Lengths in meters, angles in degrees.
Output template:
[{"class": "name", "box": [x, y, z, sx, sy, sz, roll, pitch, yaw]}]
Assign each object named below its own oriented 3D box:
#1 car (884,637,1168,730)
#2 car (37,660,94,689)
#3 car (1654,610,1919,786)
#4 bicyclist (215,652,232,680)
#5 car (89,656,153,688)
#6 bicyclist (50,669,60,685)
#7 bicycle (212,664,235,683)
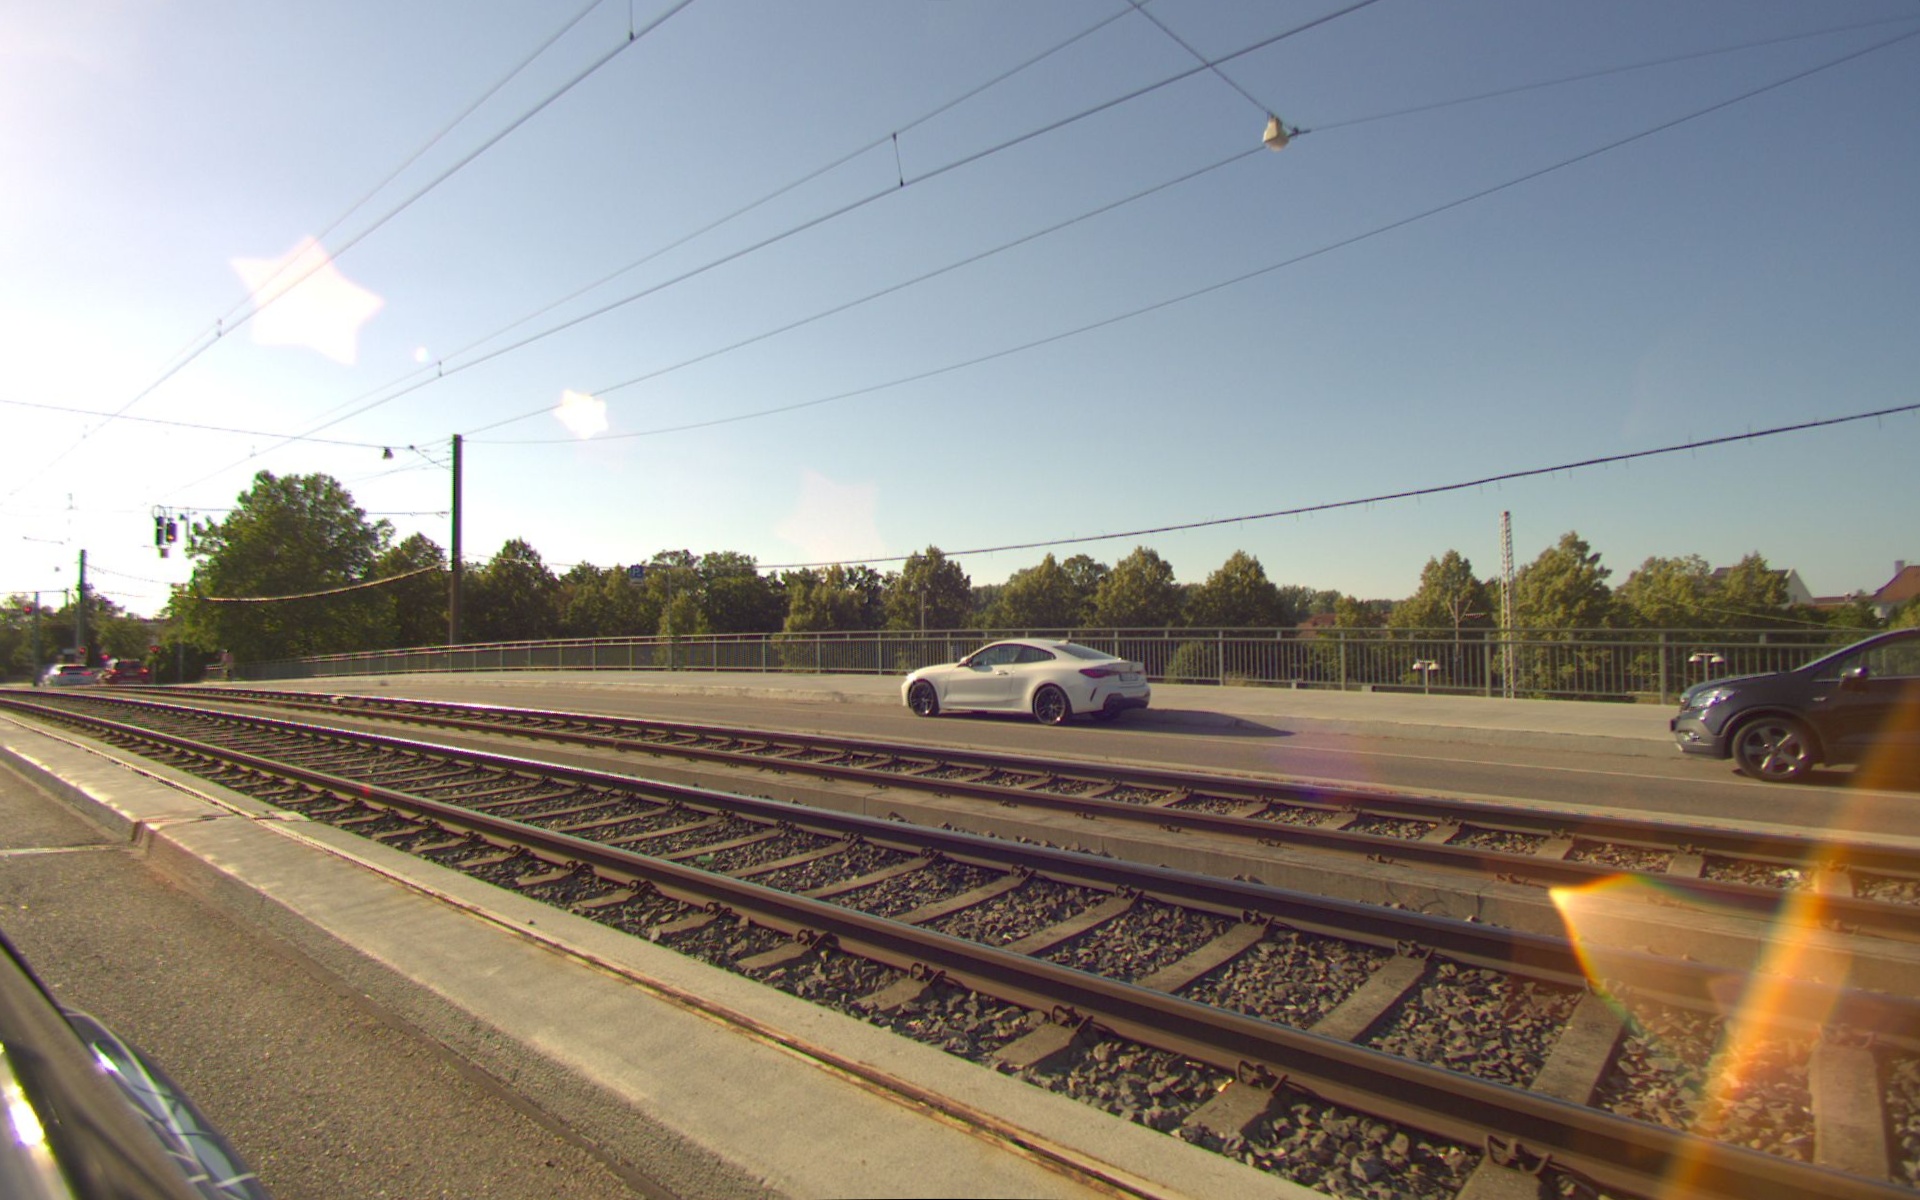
[{"class": "car", "box": [1.021, 1.363, 17.581, 4.917, 1.367, 1.666, -1, -4, 41]}, {"class": "car", "box": [-54.971, 4.574, 62.182, 5.087, 1.649, 1.980, -4, -3, 41]}, {"class": "car", "box": [9.770, 0.979, 10.159, 4.444, 1.663, 1.761, -2, -5, 41]}, {"class": "bicyclist", "box": [-43.960, 3.924, 60.422, 0.935, 1.645, 0.618, -4, -3, 41]}, {"class": "car", "box": [-42.118, 3.642, 50.783, 3.997, 1.531, 1.789, -5, -5, 41]}, {"class": "bicyclist", "box": [-84.772, 7.169, 94.743, 0.969, 1.443, 0.618, -4, -3, 43]}, {"class": "bicycle", "box": [-43.963, 4.378, 60.423, 2.258, 1.131, 0.618, -4, -3, 41]}]
